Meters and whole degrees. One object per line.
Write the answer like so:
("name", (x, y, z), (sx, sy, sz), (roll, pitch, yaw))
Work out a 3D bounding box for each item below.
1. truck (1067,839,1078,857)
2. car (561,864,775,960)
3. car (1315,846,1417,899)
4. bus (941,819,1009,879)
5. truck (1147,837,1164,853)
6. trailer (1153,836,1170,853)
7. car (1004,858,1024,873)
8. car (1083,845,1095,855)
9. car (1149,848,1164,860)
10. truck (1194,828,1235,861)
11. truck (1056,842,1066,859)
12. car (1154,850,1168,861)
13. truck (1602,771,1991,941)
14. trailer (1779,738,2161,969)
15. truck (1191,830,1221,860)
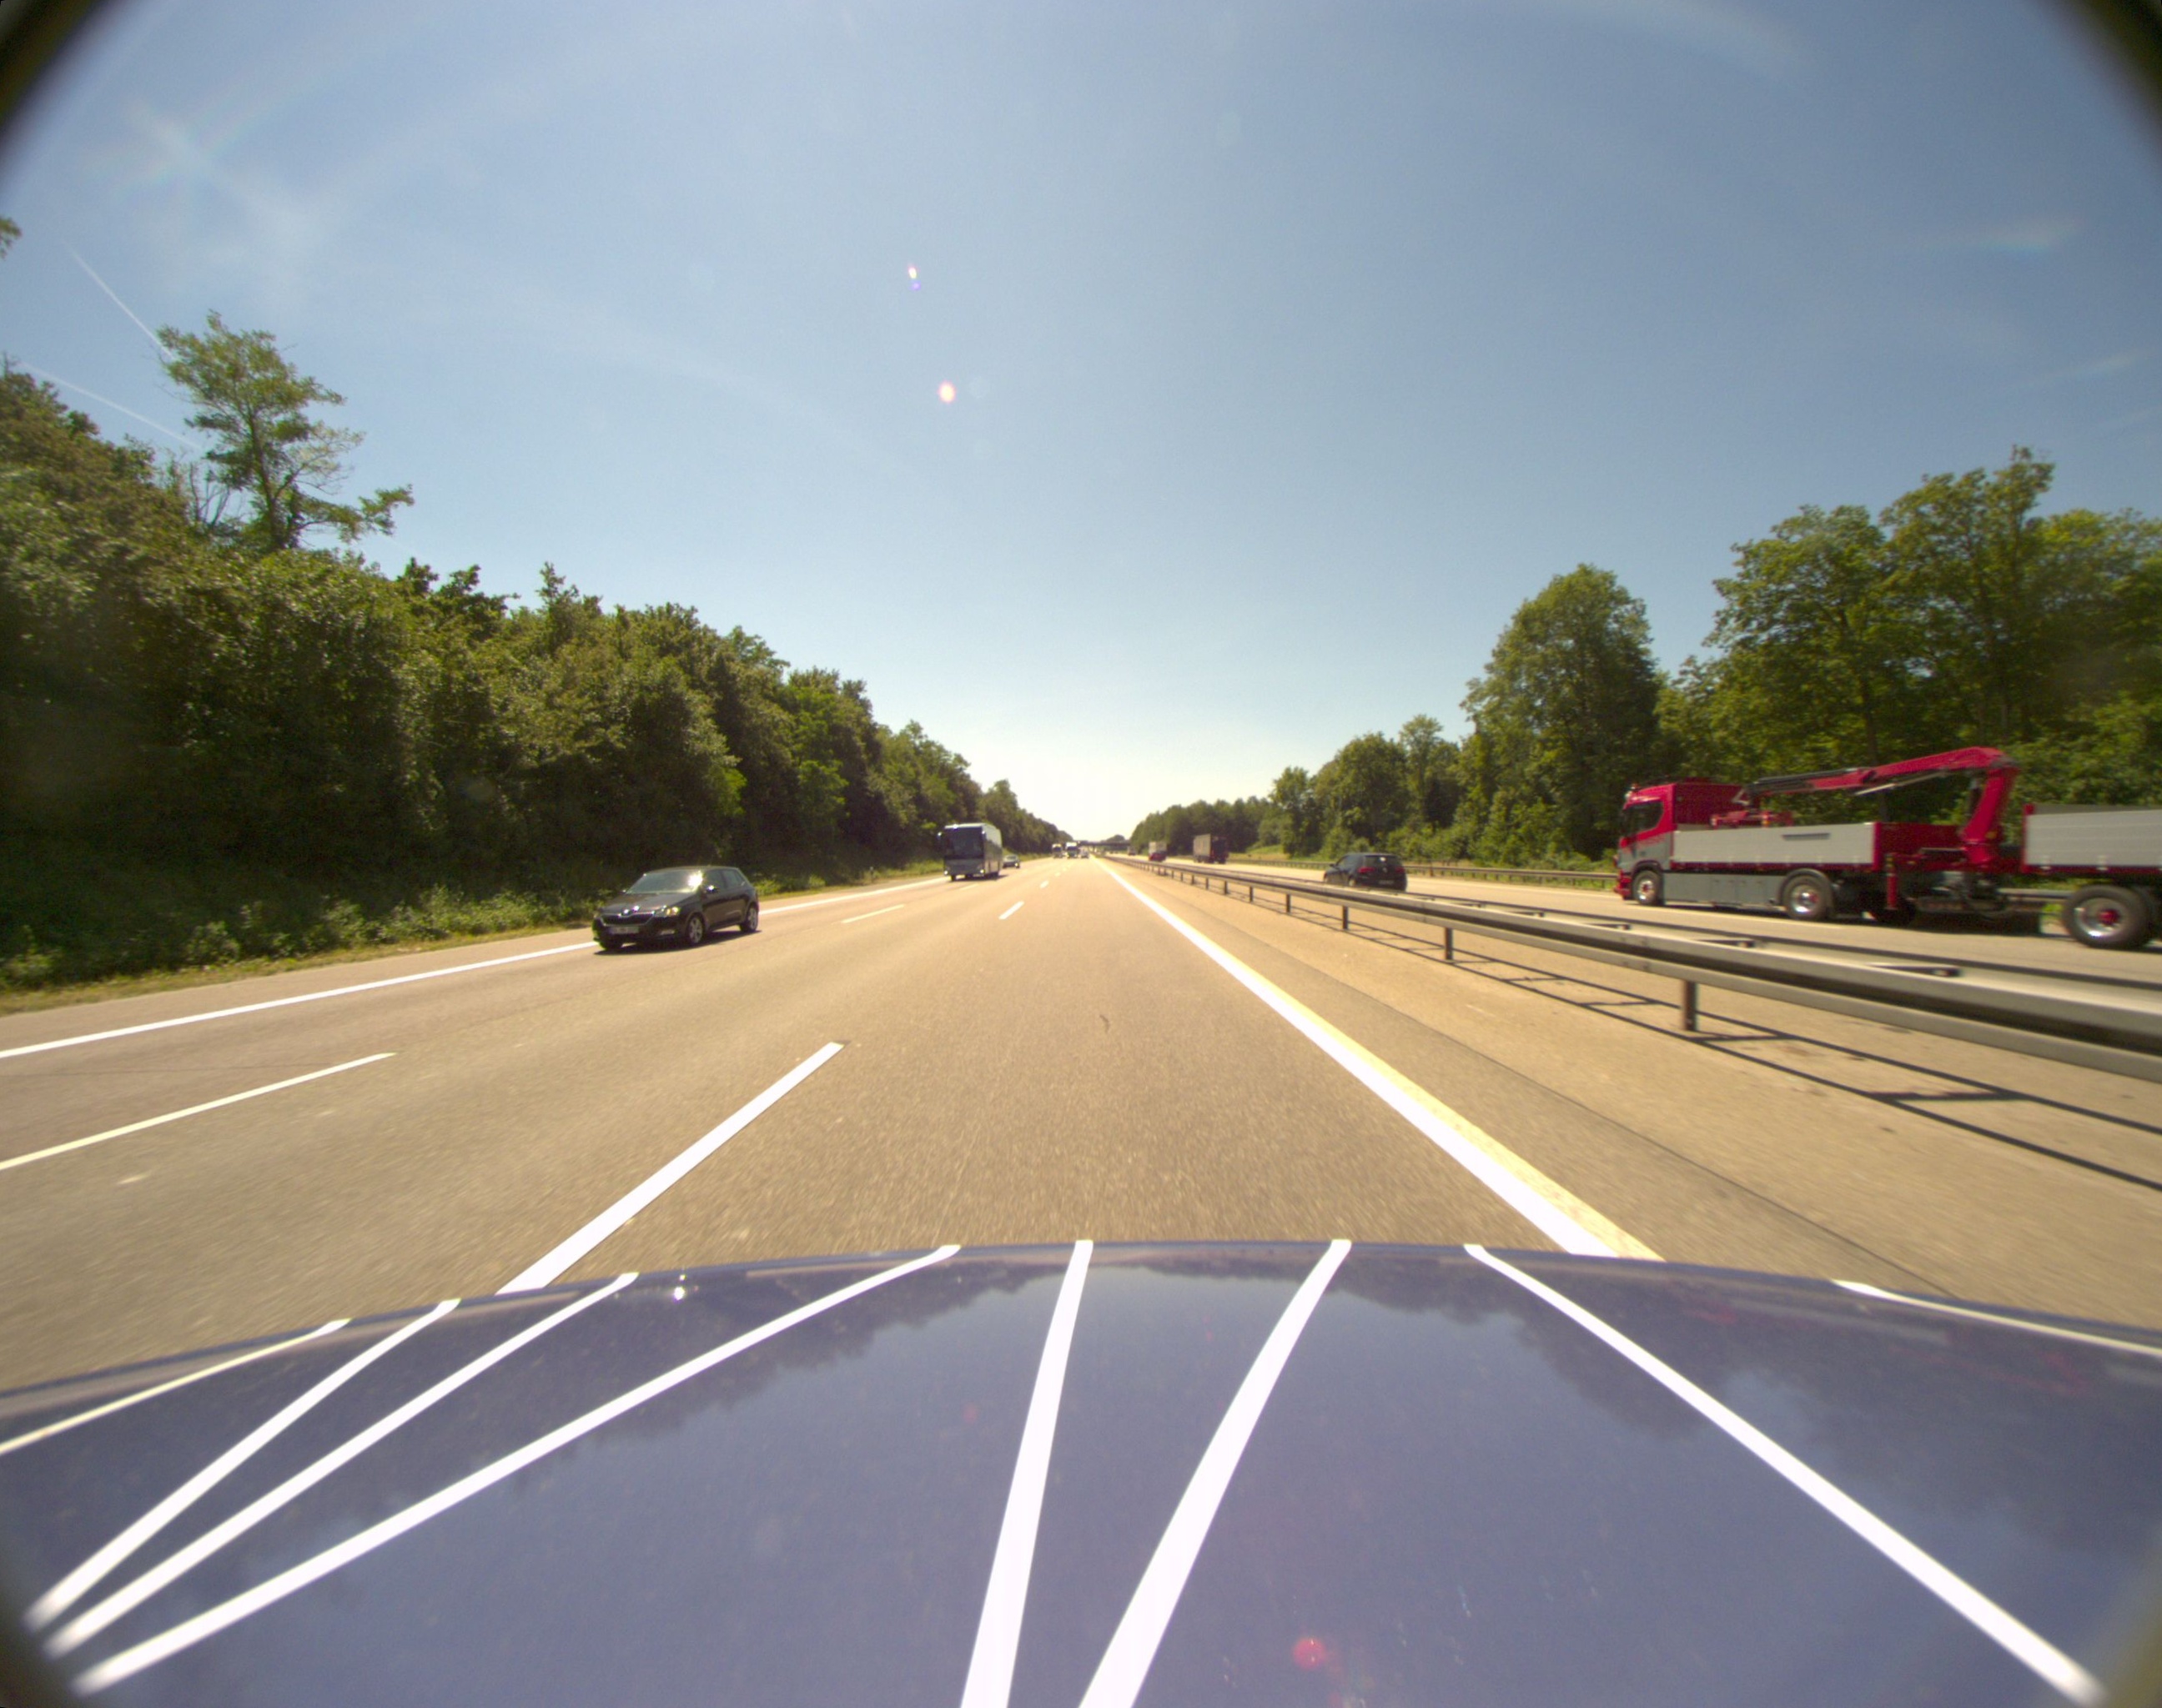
("truck", (-2.111, -1.568, 200.113), (2.616, 4.638, 10.959), (-2, 1, 0))
("car", (-7.882, 1.016, 15.105), (1.674, 1.439, 4.573), (-2, 1, 0))
("car", (9.714, 0.560, 26.352), (1.811, 1.582, 4.668), (-2, 1, 1))
("bus", (-7.059, -0.380, 52.966), (2.617, 3.532, 13.680), (-2, 1, 0))
("truck", (18.534, -2.265, 190.297), (2.587, 3.985, 10.334), (-2, 1, -3))
("trailer", (19.138, -2.319, 180.848), (2.585, 3.967, 8.556), (-2, 1, -3))
("car", (-7.481, 1.261, 85.079), (1.814, 1.607, 3.999), (-2, 1, 0))
("car", (1.914, -0.966, 182.504), (2.616, 2.390, 7.122), (-2, 1, 0))
("car", (10.523, 0.032, 106.444), (1.736, 1.576, 4.644), (-2, 1, 1))
("truck", (19.001, -1.313, 108.807), (3.332, 4.317, 13.908), (-2, 1, 0))
("truck", (-5.755, -1.149, 220.178), (2.616, 4.638, 10.959), (-2, 1, 0))
("car", (14.537, 0.236, 138.933), (1.998, 2.002, 5.358), (1, 1, 1))
("truck", (17.275, -0.003, 19.372), (2.756, 3.374, 7.660), (-2, 1, 1))
("trailer", (17.111, -0.044, 10.549), (2.786, 3.374, 13.288), (-2, 1, 1))
("truck", (19.013, -1.408, 115.623), (3.332, 4.317, 6.612), (-2, 1, 0))
